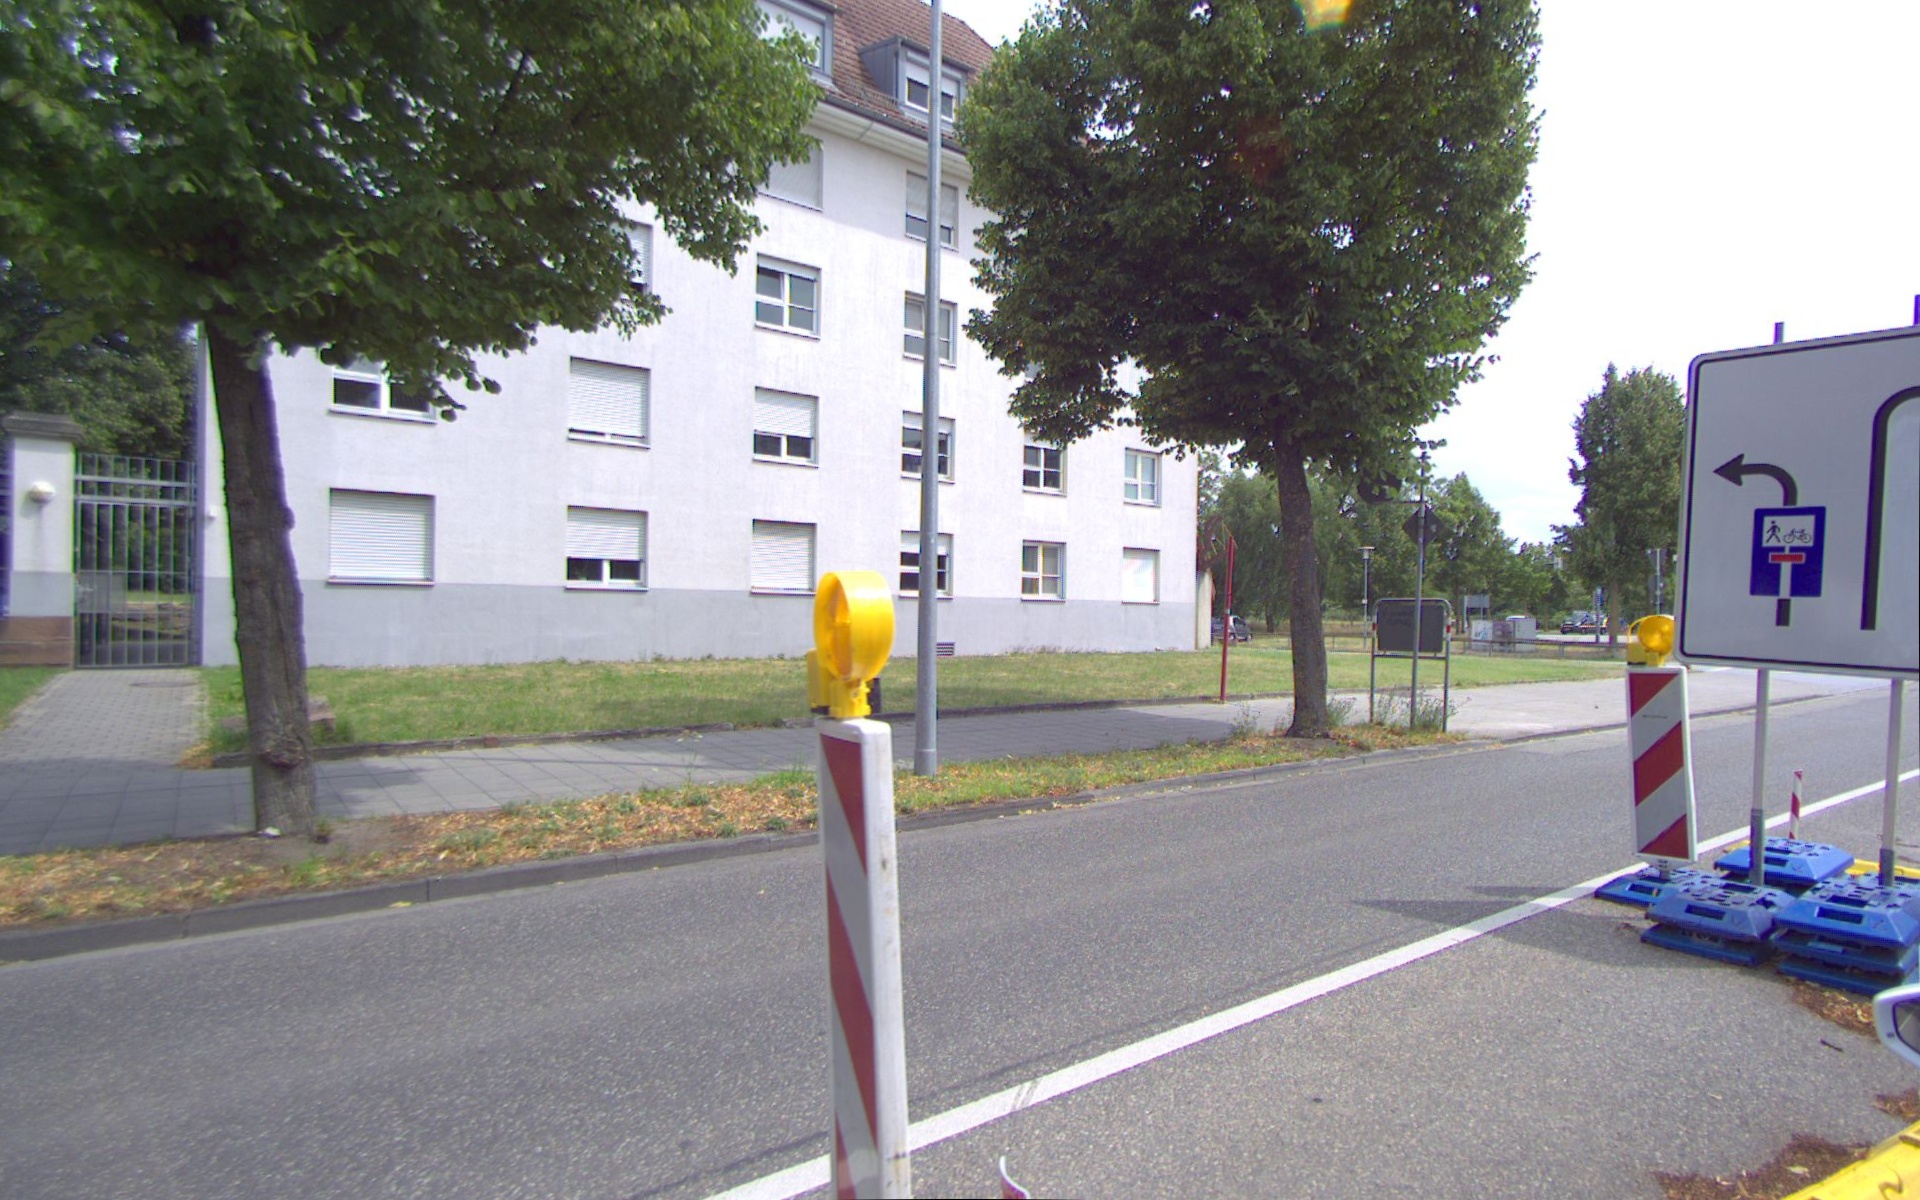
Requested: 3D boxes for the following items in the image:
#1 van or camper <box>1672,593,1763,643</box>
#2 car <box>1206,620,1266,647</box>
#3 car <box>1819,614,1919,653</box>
[{"bbox_3d":[44.518,1.049,59.208,2.114,2.761,6.280,-1,-1,16],"label":"van or camper"},{"bbox_3d":[16.140,1.940,58.687,3.606,1.497,1.645,0,-1,-41],"label":"car"},{"bbox_3d":[38.134,1.361,41.548,1.742,1.498,4.259,1,0,4],"label":"car"}]
